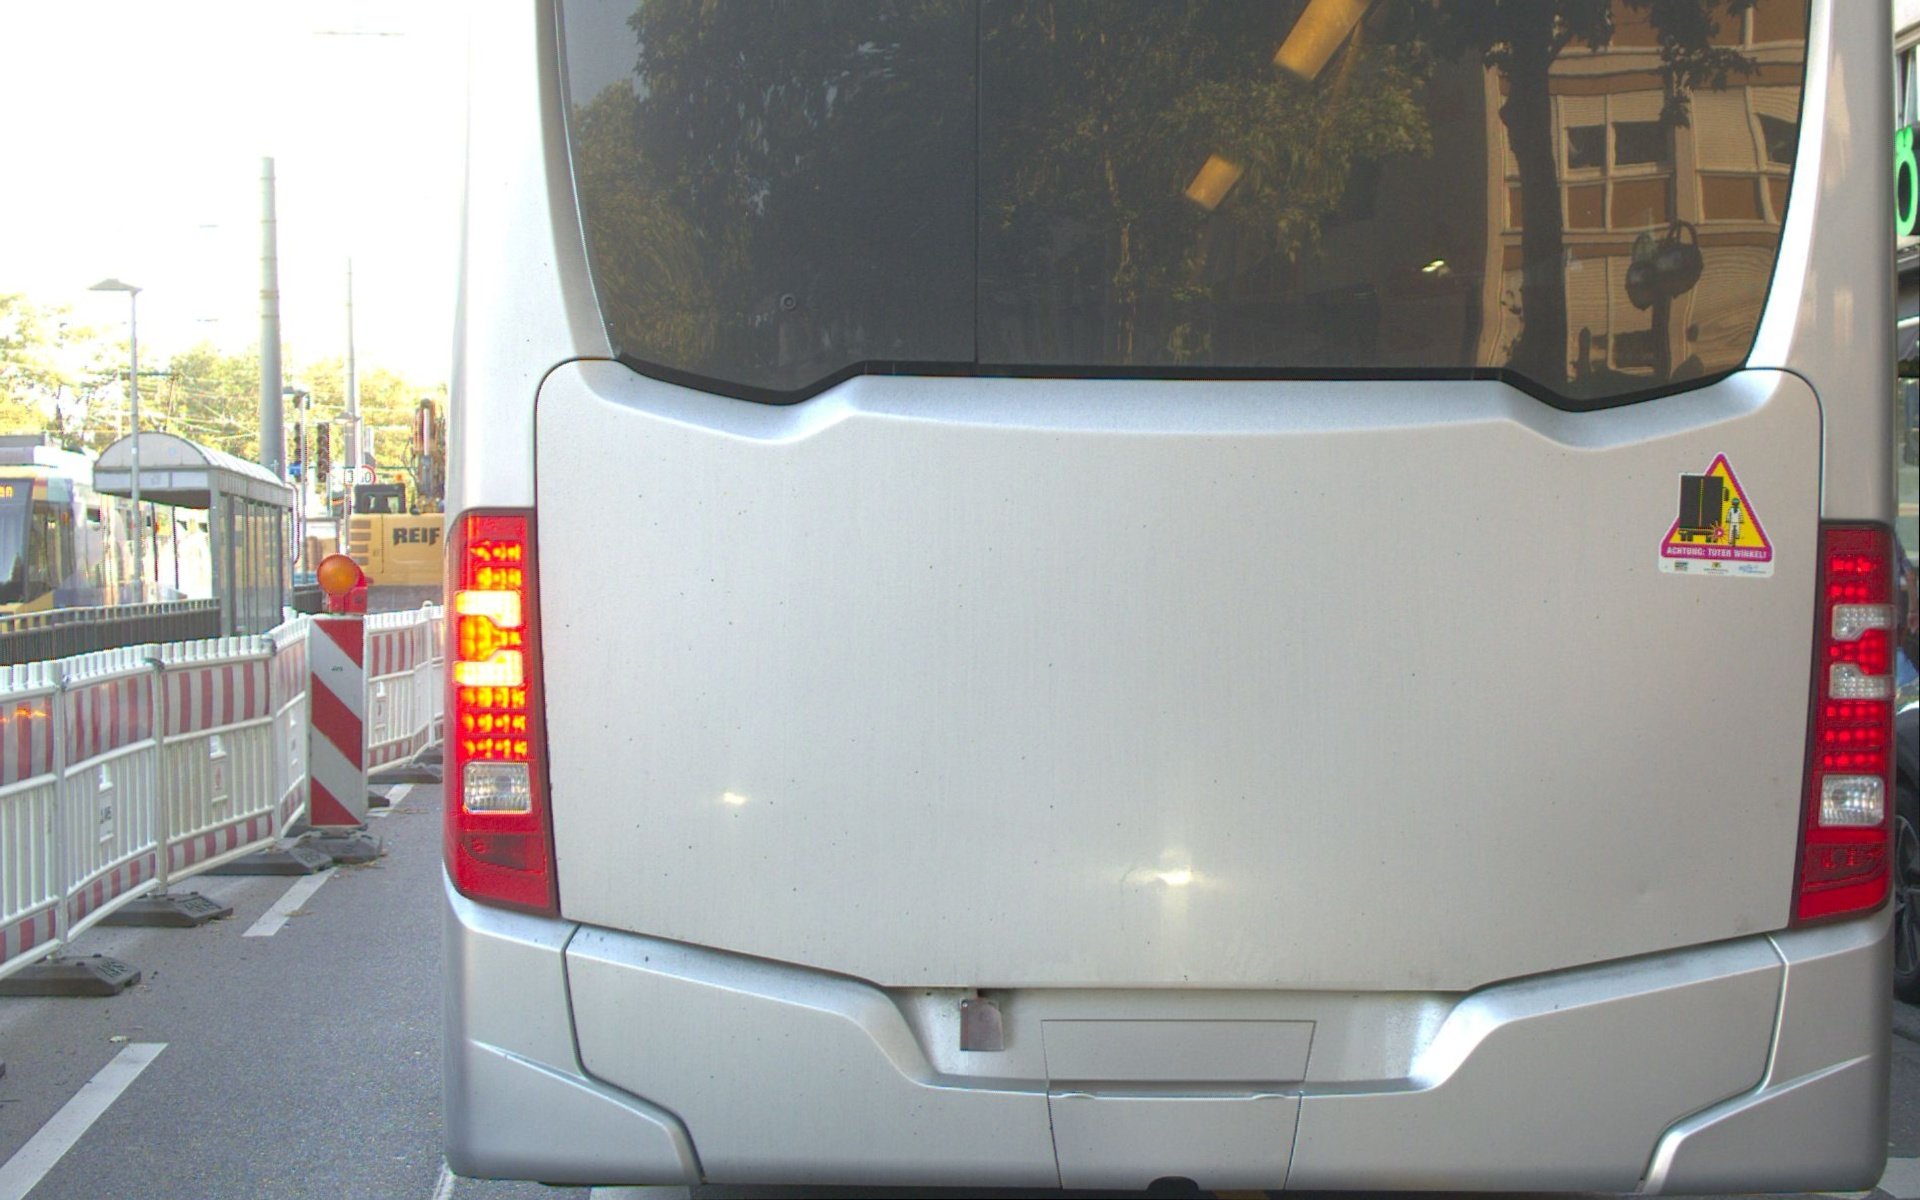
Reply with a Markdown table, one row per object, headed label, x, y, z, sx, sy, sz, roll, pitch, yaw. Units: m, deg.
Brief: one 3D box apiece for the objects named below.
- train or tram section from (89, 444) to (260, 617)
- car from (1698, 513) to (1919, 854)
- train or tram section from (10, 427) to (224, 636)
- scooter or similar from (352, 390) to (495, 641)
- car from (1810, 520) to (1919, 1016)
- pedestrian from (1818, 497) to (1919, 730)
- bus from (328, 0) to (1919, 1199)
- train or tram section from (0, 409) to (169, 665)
| label | x | y | z | sx | sy | sz | roll | pitch | yaw |
| --- | --- | --- | --- | --- | --- | --- | --- | --- | --- |
| train or tram section | -17.266 | -1.482 | 76.182 | 2.686 | 3.521 | 11.585 | 1 | 1 | -8 |
| car | 5.405 | 0.347 | 17.409 | 1.993 | 1.576 | 4.369 | -3 | 1 | -5 |
| train or tram section | -15.692 | -1.232 | 64.764 | 2.686 | 3.546 | 11.585 | 1 | 1 | -8 |
| scooter or similar | -9.997 | -1.543 | 64.410 | 2.468 | 4.455 | 5.974 | -1 | 1 | -8 |
| car | 4.152 | 0.523 | 9.772 | 1.993 | 1.576 | 4.369 | -3 | 1 | -5 |
| pedestrian | 6.666 | 0.097 | 25.153 | 0.664 | 1.661 | 0.600 | -2 | 0 | 16 |
| bus | 0.273 | -0.201 | 9.514 | 2.611 | 3.115 | 7.993 | 1 | 1 | -1 |
| train or tram section | -14.370 | -0.943 | 53.143 | 2.686 | 3.521 | 11.774 | 1 | 1 | -6 |
